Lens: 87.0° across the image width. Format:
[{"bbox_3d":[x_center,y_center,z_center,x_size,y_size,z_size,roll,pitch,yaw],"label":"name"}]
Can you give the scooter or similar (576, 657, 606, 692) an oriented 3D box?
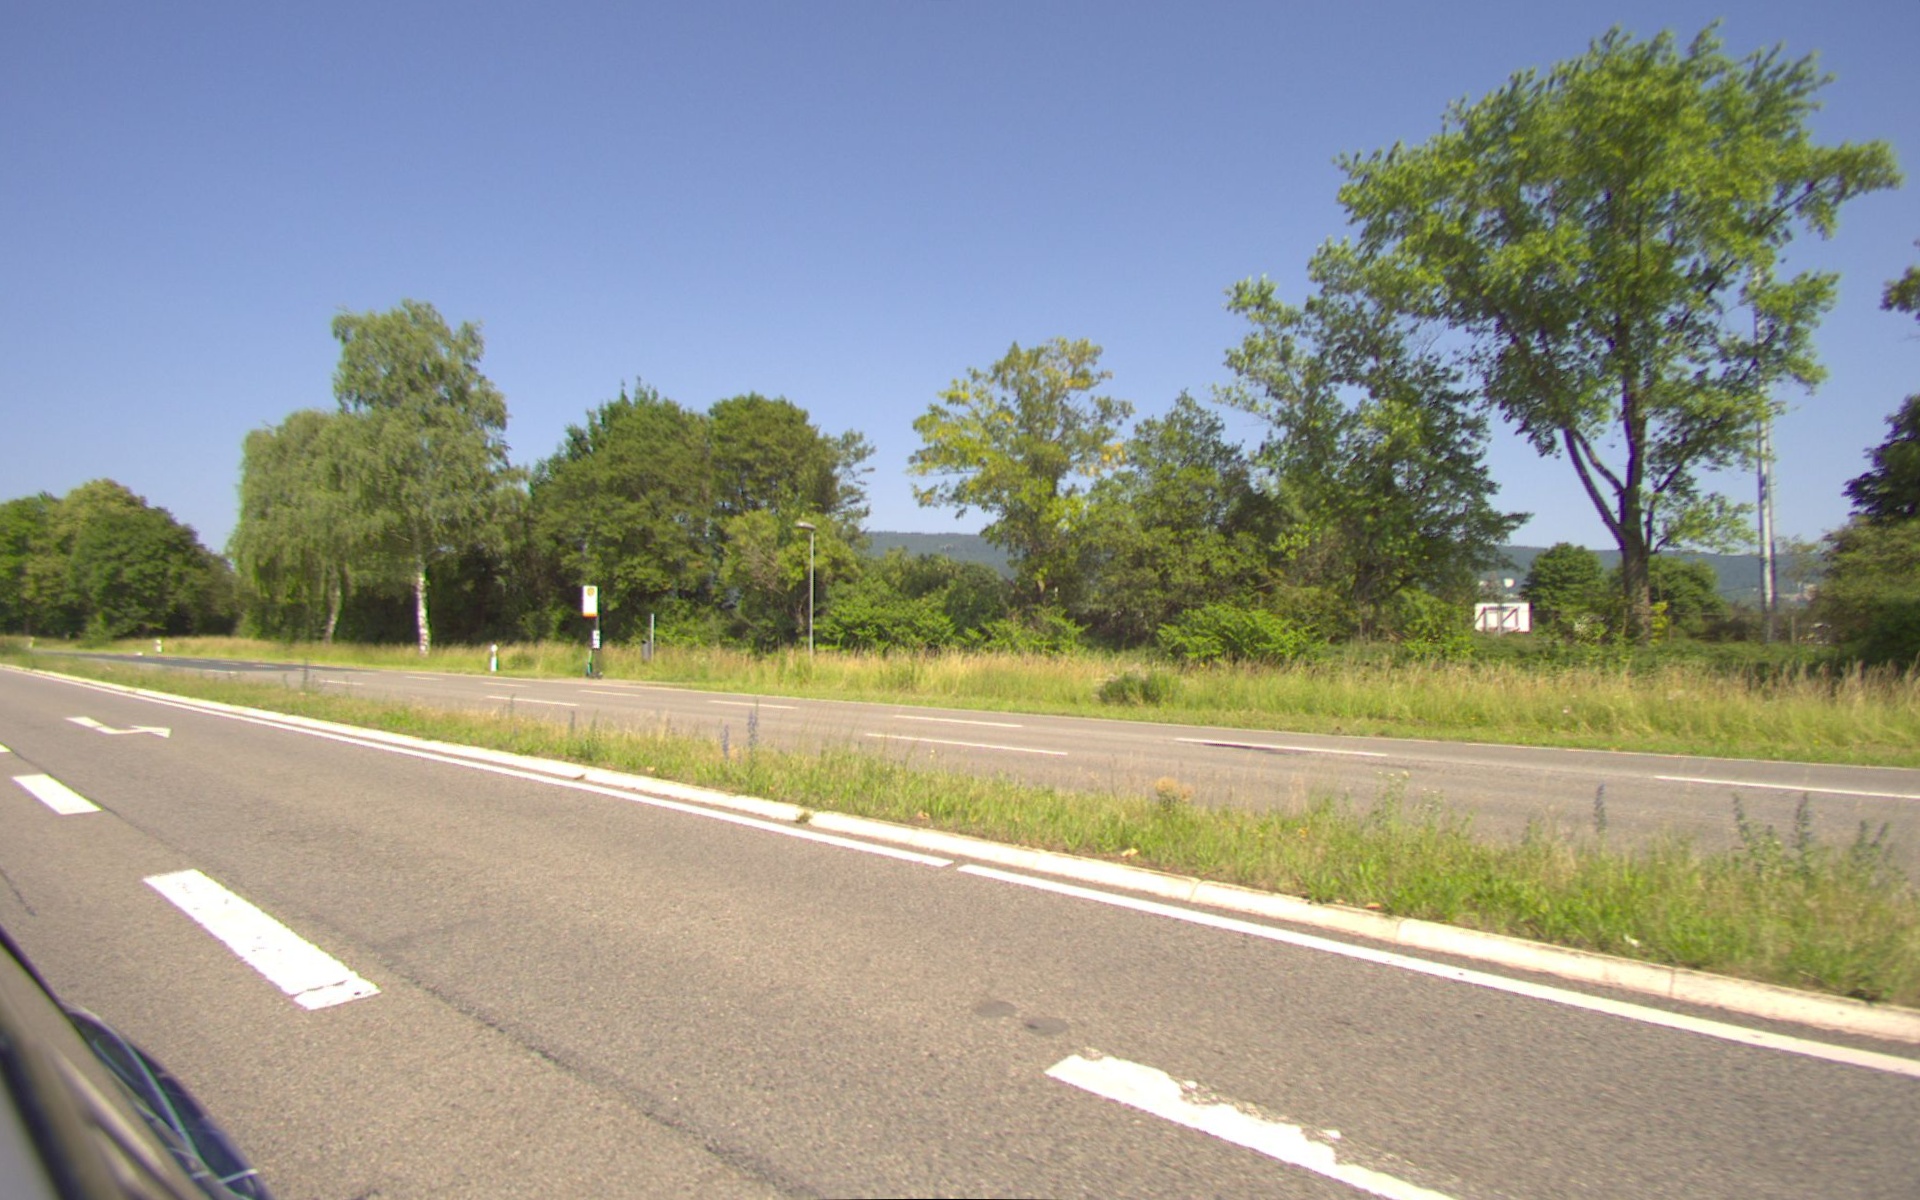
[{"bbox_3d":[-13.245,2.661,36.320,1.340,1.195,0.364,-2,-4,42],"label":"scooter or similar"}]
